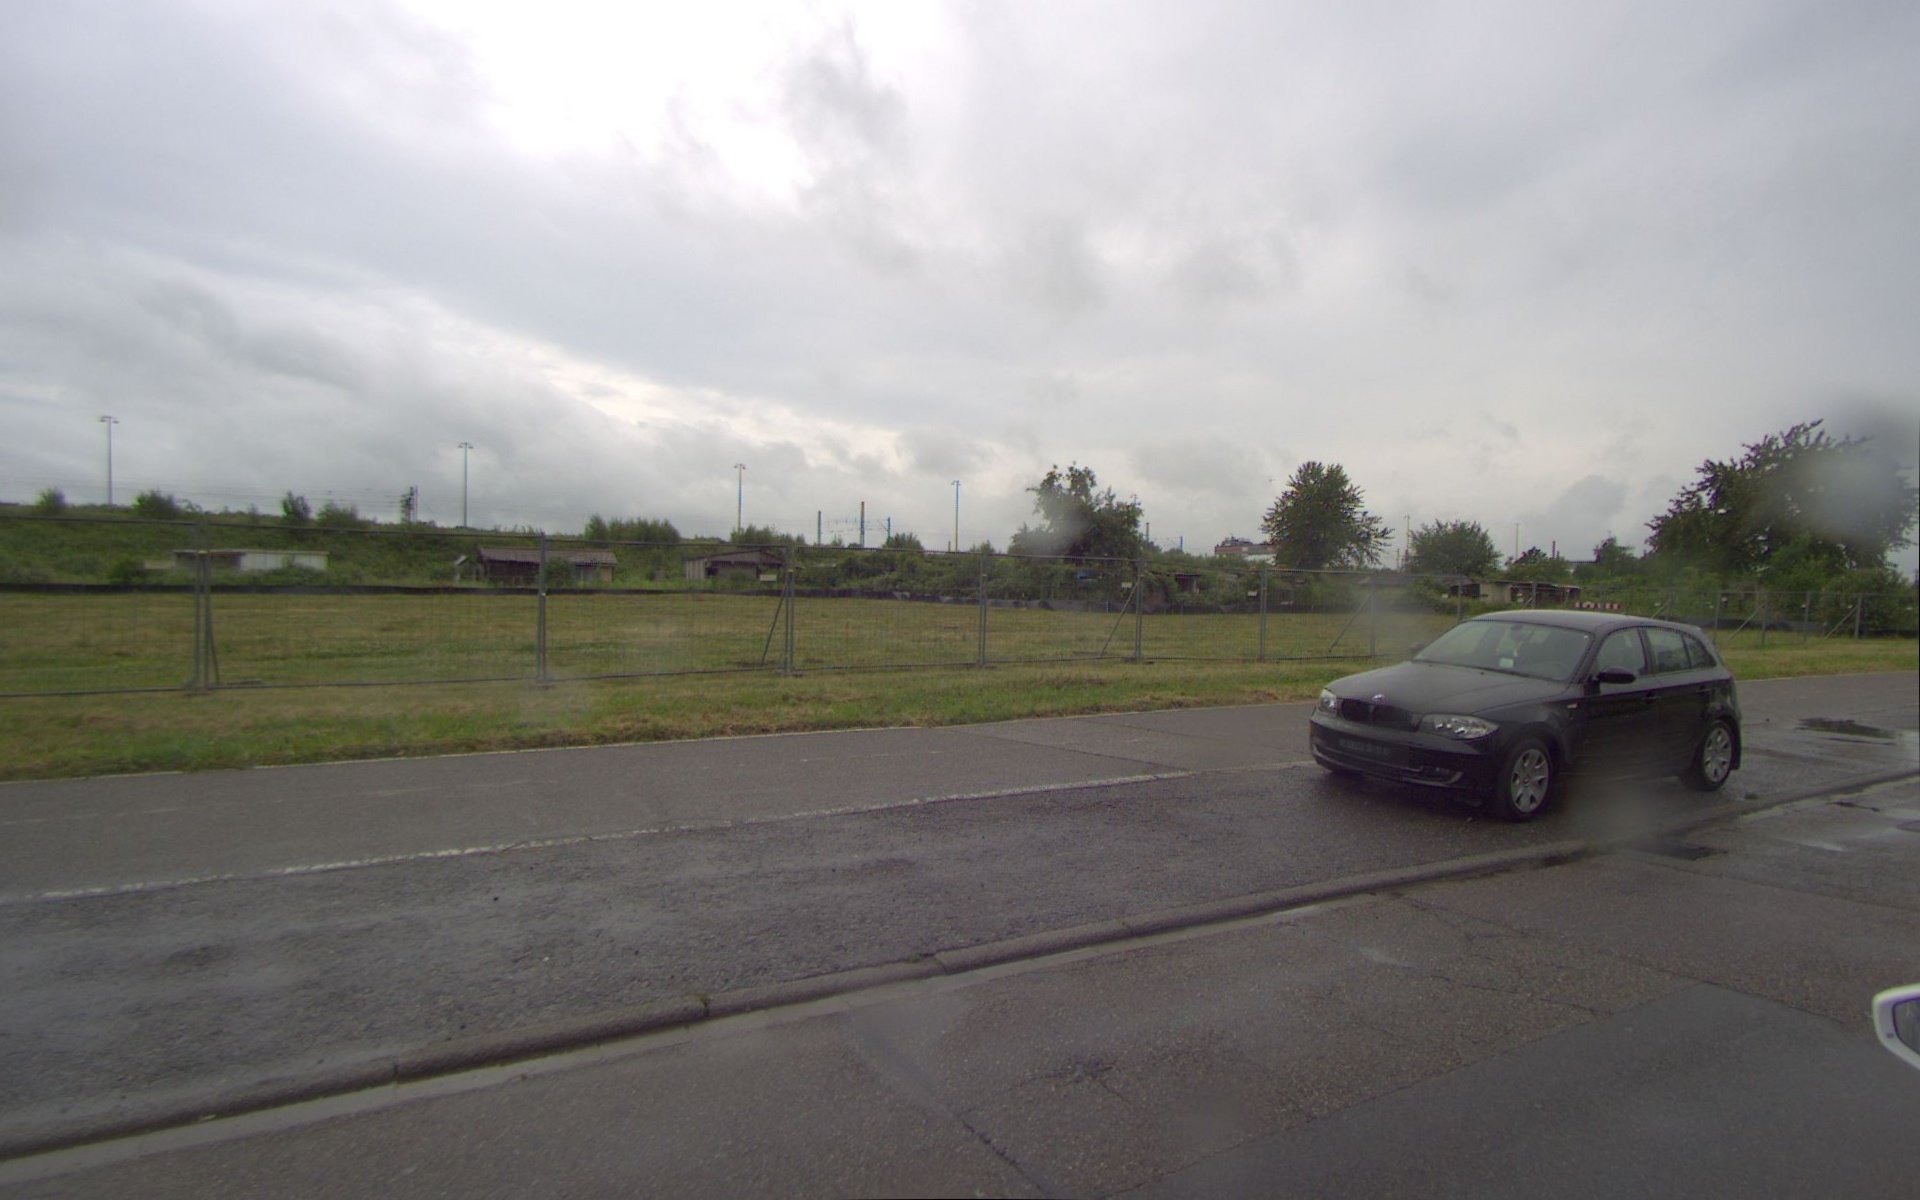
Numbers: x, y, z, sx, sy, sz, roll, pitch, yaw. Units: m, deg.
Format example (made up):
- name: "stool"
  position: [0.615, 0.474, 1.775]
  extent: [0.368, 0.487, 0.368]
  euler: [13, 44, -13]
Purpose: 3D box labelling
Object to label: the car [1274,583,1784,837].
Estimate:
- name: "car"
  position: [4.805, 0.732, 8.392]
  extent: [4.103, 1.582, 1.838]
  euler: [1, 3, -30]
